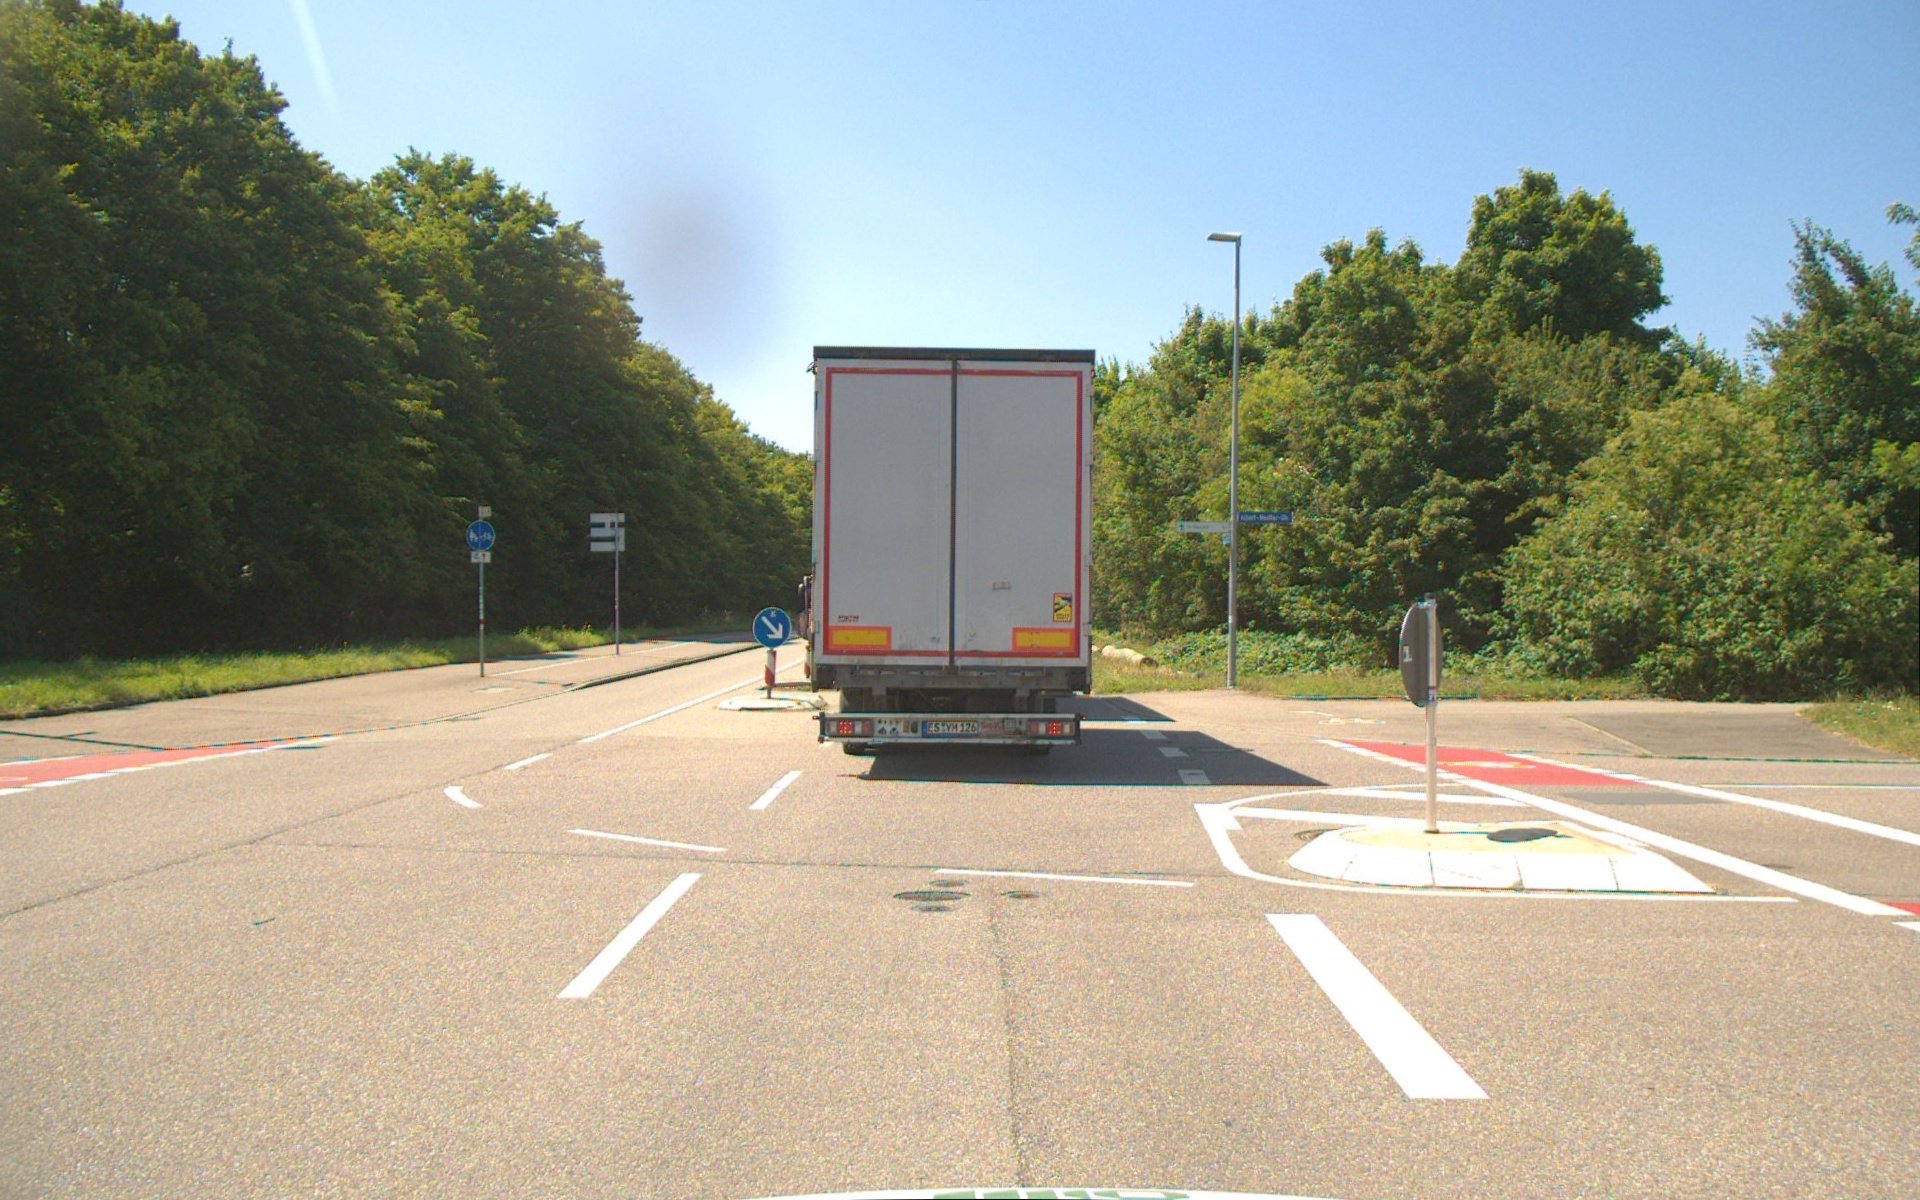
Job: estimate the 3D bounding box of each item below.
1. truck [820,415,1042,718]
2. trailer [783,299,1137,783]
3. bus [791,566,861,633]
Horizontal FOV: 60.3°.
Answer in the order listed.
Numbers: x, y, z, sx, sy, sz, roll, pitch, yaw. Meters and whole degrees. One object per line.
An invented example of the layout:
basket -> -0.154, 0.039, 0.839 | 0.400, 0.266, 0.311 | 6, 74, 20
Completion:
truck -> -0.571, -0.454, 26.780 | 3.015, 4.141, 7.954 | 1, 0, -3
trailer -> -0.205, -0.472, 19.158 | 3.015, 4.141, 9.803 | 1, 0, -3
bus -> -6.719, -0.005, 84.522 | 2.693, 3.098, 11.936 | -2, 0, -1
